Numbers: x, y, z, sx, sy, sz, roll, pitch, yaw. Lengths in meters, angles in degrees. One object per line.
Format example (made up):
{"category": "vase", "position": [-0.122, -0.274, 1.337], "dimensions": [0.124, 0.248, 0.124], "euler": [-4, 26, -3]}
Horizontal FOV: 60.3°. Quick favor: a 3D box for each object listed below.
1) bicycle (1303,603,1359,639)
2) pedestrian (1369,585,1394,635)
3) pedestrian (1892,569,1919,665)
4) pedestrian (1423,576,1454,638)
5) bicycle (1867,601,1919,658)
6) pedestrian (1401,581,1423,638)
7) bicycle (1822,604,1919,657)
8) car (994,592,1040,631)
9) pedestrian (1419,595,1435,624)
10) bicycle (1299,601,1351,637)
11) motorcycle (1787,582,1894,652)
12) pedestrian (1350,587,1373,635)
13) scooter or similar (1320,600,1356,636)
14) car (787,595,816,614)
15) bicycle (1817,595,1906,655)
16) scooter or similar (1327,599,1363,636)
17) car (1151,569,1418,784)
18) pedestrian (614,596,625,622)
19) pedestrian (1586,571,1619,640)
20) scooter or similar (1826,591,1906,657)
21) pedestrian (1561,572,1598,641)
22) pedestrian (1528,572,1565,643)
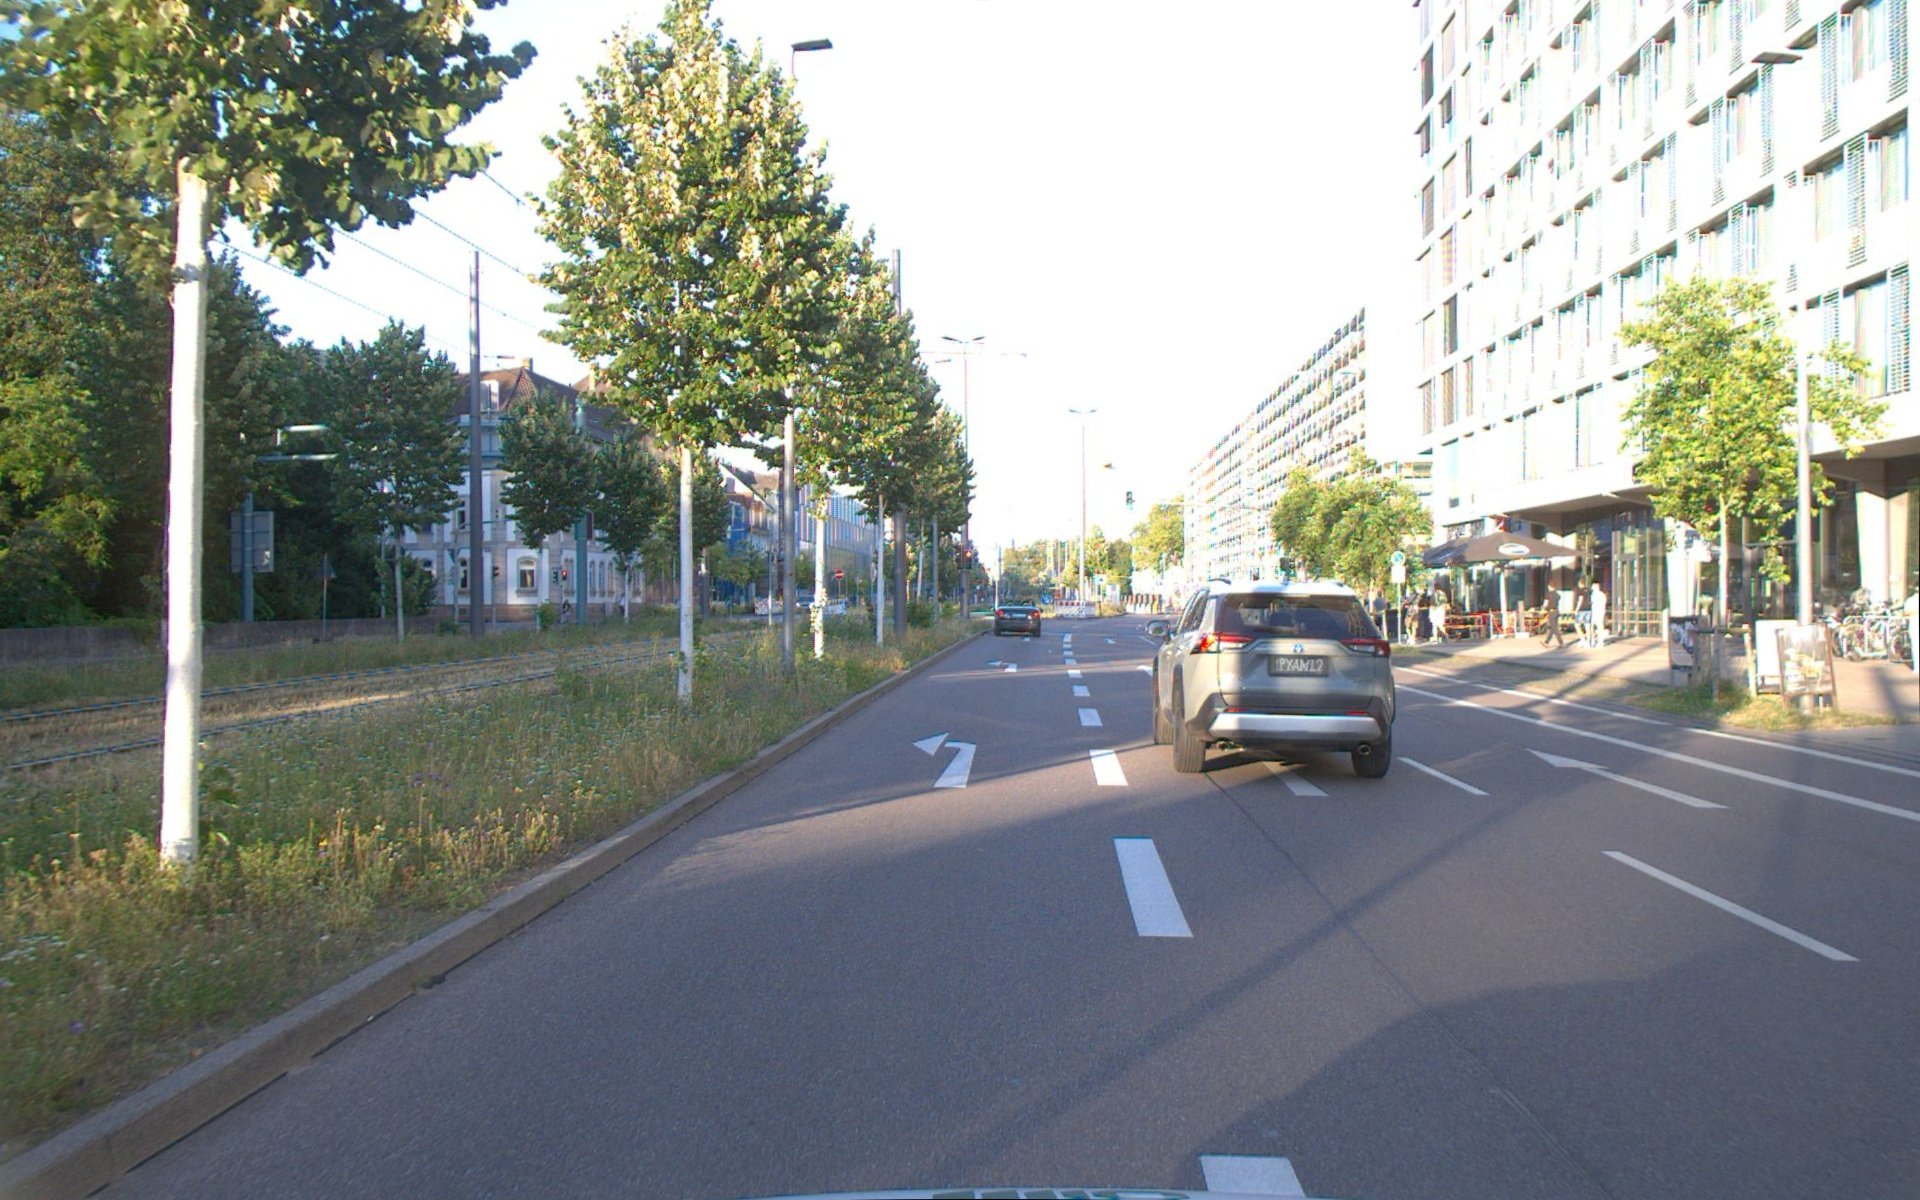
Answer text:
{"category": "bicycle", "position": [13.290, 0.754, 59.257], "dimensions": [1.808, 1.202, 0.608], "euler": [-2, 0, 2]}
{"category": "pedestrian", "position": [15.369, 0.356, 60.313], "dimensions": [0.671, 1.765, 0.761], "euler": [-3, 0, 2]}
{"category": "pedestrian", "position": [16.852, 0.290, 29.038], "dimensions": [0.564, 1.647, 0.643], "euler": [-2, 0, 0]}
{"category": "pedestrian", "position": [15.221, 0.239, 52.664], "dimensions": [0.807, 1.921, 0.867], "euler": [-2, -1, 11]}
{"category": "bicycle", "position": [18.562, 0.546, 31.835], "dimensions": [1.846, 1.027, 0.565], "euler": [-3, 0, 1]}
{"category": "pedestrian", "position": [14.522, 0.312, 53.160], "dimensions": [0.564, 1.817, 0.829], "euler": [-2, -1, 20]}
{"category": "bicycle", "position": [18.677, 0.618, 33.932], "dimensions": [1.665, 1.003, 0.551], "euler": [-2, 0, -1]}
{"category": "car", "position": [2.130, 0.404, 61.159], "dimensions": [1.639, 1.375, 4.002], "euler": [1, 0, 3]}
{"category": "pedestrian", "position": [21.857, 0.448, 77.396], "dimensions": [0.600, 1.342, 0.621], "euler": [-3, 0, 21]}
{"category": "bicycle", "position": [13.452, 0.699, 60.976], "dimensions": [1.757, 1.214, 0.567], "euler": [-3, 0, -2]}
{"category": "motorcycle", "position": [18.921, 0.357, 35.544], "dimensions": [2.074, 1.410, 0.670], "euler": [-2, 1, -12]}
{"category": "pedestrian", "position": [14.652, 0.400, 60.382], "dimensions": [0.640, 1.732, 0.689], "euler": [-2, 0, 2]}
{"category": "scooter or similar", "position": [13.282, 0.629, 58.086], "dimensions": [1.131, 1.212, 0.510], "euler": [-2, -2, 5]}
{"category": "car", "position": [-14.593, 0.398, 152.098], "dimensions": [1.952, 1.608, 4.126], "euler": [-2, 0, 4]}
{"category": "bicycle", "position": [18.965, 0.516, 34.799], "dimensions": [1.577, 1.175, 0.611], "euler": [-2, 0, -10]}
{"category": "scooter or similar", "position": [13.345, 0.595, 57.301], "dimensions": [1.104, 1.235, 0.532], "euler": [-3, -2, 18]}
{"category": "car", "position": [2.858, 0.597, 15.448], "dimensions": [1.796, 1.701, 4.284], "euler": [1, 0, 2]}
{"category": "pedestrian", "position": [-23.401, 0.626, 113.758], "dimensions": [0.690, 1.745, 0.810], "euler": [2, 0, -13]}
{"category": "pedestrian", "position": [17.554, 0.146, 45.206], "dimensions": [0.605, 1.843, 0.777], "euler": [-3, -1, 12]}
{"category": "scooter or similar", "position": [18.240, 0.473, 33.313], "dimensions": [1.242, 1.255, 0.608], "euler": [-2, 0, -1]}
{"category": "pedestrian", "position": [16.832, 0.173, 44.972], "dimensions": [0.740, 1.856, 0.941], "euler": [-2, 0, 12]}
{"category": "pedestrian", "position": [16.037, 0.199, 45.236], "dimensions": [0.728, 1.881, 0.941], "euler": [-3, -1, 12]}
